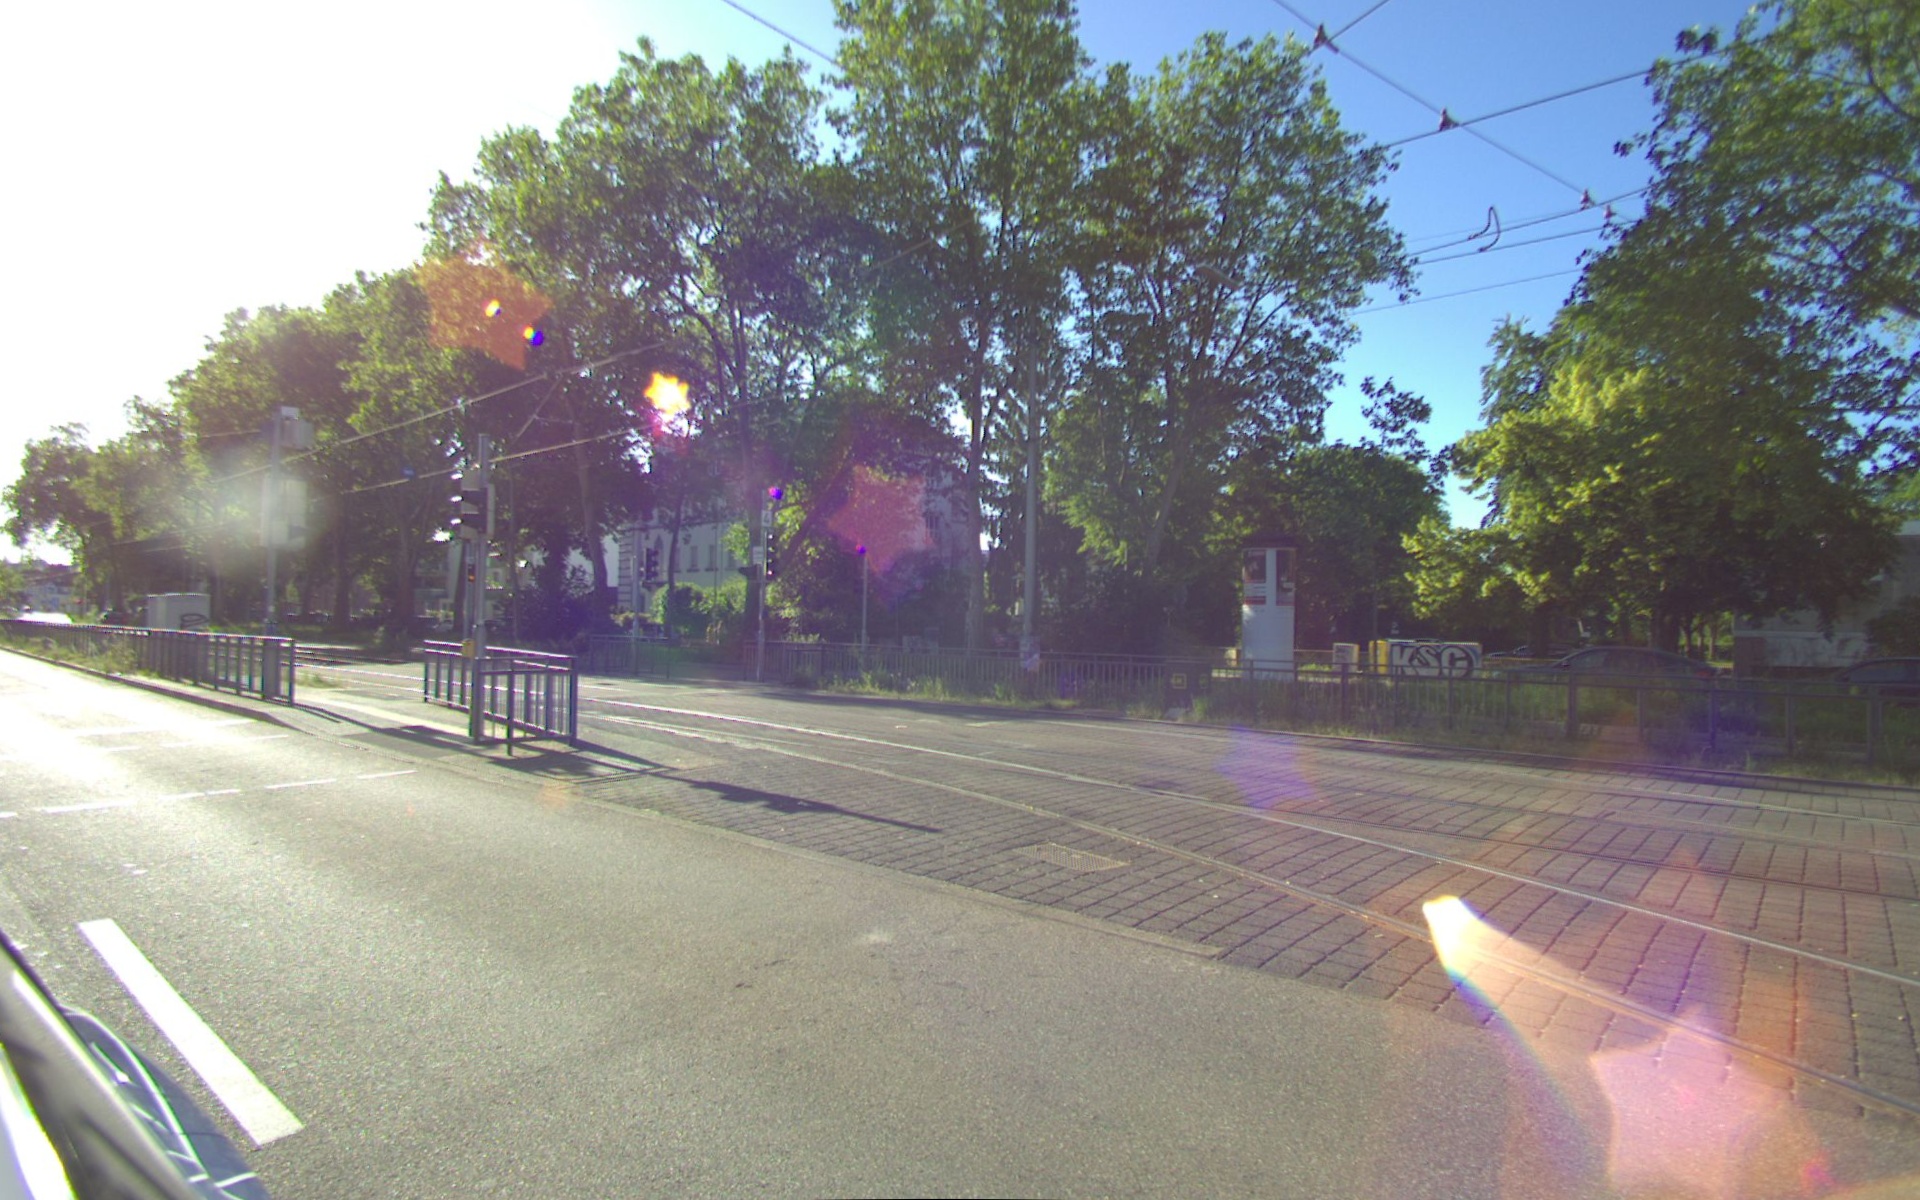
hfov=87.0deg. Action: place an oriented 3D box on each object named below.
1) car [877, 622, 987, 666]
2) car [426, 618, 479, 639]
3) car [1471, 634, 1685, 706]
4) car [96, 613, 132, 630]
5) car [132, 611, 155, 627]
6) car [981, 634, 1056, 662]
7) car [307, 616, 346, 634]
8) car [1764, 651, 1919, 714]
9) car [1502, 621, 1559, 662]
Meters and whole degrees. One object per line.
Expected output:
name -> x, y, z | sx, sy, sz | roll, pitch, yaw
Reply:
car -> -1.105, 1.633, 38.319 | 4.143, 1.521, 1.652 | -1, -2, 41
car -> -33.988, 1.899, 67.719 | 4.460, 1.334, 1.622 | -1, -4, 43
car -> 14.649, 1.591, 24.104 | 4.143, 1.521, 1.652 | -1, -2, 41
car -> -75.342, 1.926, 90.127 | 4.339, 1.510, 1.667 | -1, -2, 39
car -> -104.882, 2.424, 129.998 | 1.970, 2.029, 4.004 | -2, 1, -43
car -> 3.169, 2.560, 54.458 | 2.000, 1.429, 3.944 | -1, -2, 42
car -> -53.190, 2.119, 84.946 | 4.000, 1.484, 1.777 | -1, -2, 43
car -> 18.693, 1.663, 20.626 | 3.571, 1.148, 1.490 | -1, -2, 41
car -> 29.976, 2.130, 53.103 | 1.830, 2.029, 3.945 | -1, -2, 41
